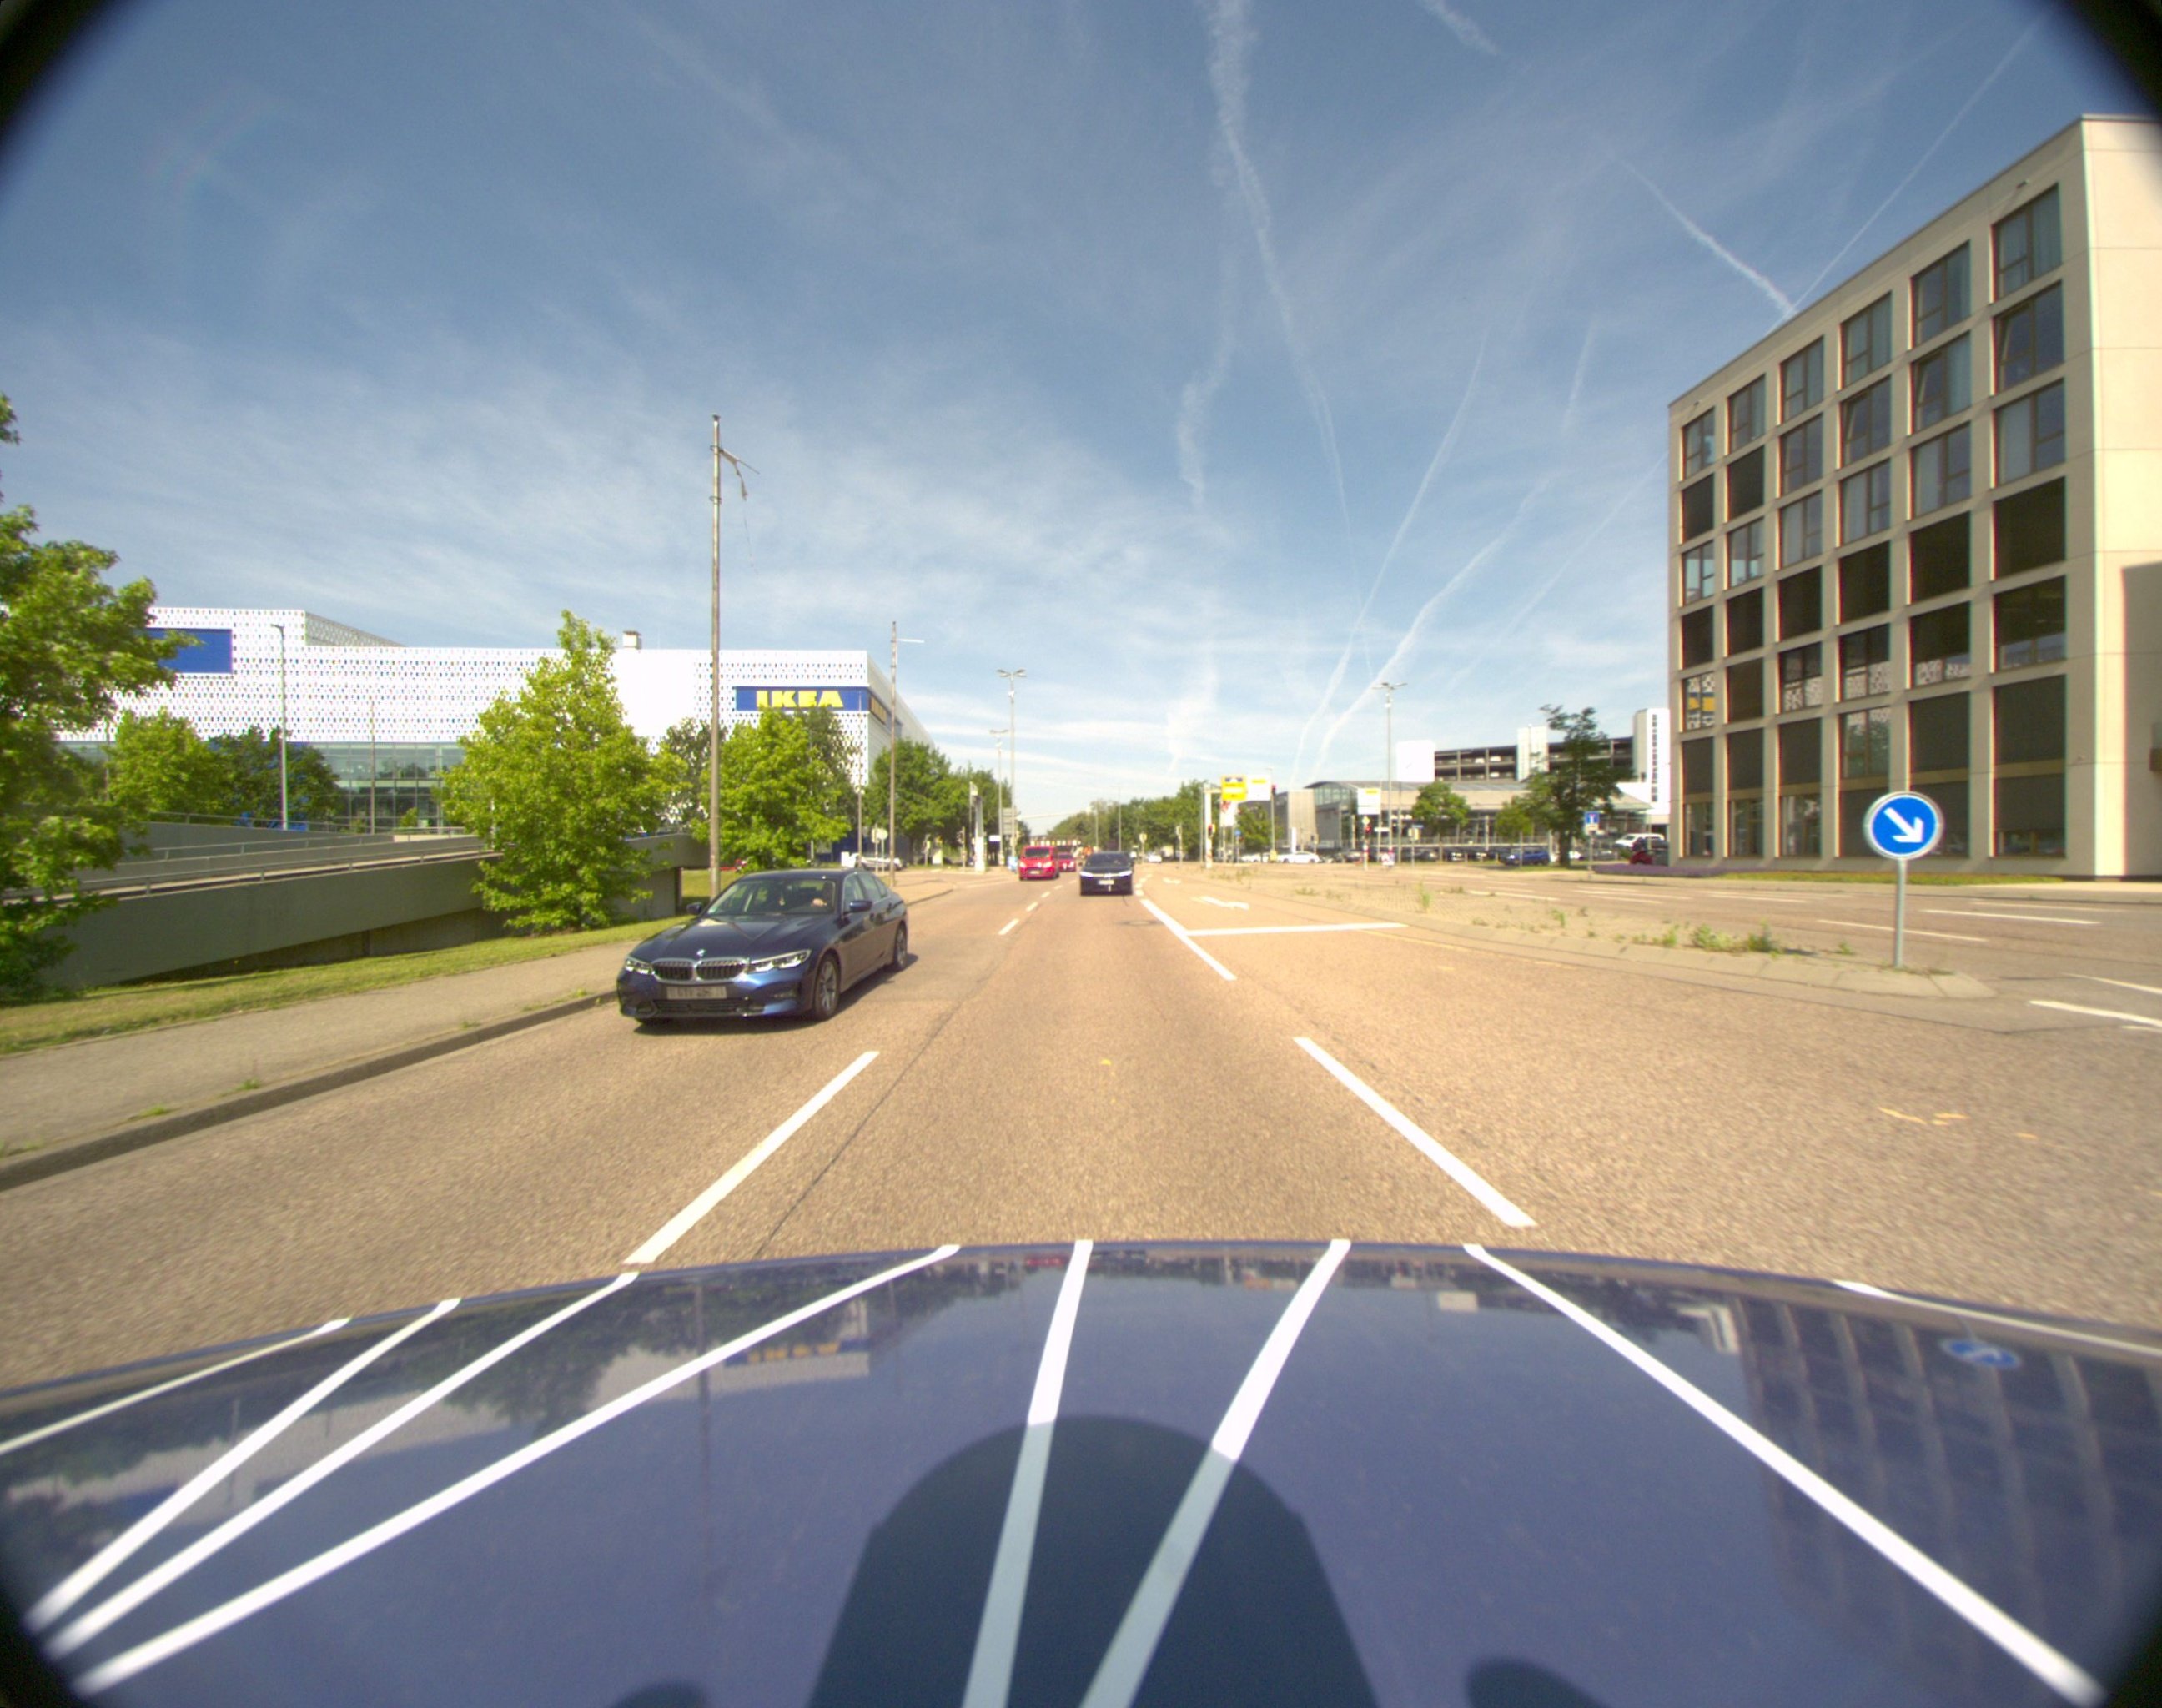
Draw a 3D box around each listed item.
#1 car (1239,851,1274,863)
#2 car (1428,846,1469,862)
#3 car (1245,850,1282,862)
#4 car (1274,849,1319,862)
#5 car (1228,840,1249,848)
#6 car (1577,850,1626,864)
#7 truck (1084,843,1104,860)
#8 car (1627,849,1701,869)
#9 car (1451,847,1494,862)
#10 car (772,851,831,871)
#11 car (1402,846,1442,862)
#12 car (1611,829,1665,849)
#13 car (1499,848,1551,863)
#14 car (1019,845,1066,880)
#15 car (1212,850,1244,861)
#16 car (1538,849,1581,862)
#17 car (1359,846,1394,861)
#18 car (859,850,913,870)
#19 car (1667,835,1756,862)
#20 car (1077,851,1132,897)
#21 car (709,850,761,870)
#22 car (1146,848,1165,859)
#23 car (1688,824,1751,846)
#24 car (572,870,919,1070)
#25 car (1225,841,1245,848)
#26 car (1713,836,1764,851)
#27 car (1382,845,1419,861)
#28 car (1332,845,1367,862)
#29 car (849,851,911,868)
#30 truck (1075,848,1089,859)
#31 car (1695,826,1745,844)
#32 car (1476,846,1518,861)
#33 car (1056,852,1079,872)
[{"bbox_3d":[22.415,0.360,97.118,3.999,1.311,1.868,2,0,-5],"label":"car"},{"bbox_3d":[39.200,0.012,81.235,1.783,1.507,4.674,0,-2,-5],"label":"car"},{"bbox_3d":[22.683,0.292,94.503,4.084,1.362,1.877,2,0,-5],"label":"car"},{"bbox_3d":[23.788,0.132,84.070,4.385,1.424,1.899,0,0,-3],"label":"car"},{"bbox_3d":[34.236,-2.185,165.412,4.198,1.397,1.689,2,0,-3],"label":"car"},{"bbox_3d":[55.546,0.319,81.191,4.018,1.433,1.800,0,0,22],"label":"car"},{"bbox_3d":[2.887,-0.514,171.735,2.756,3.659,7.570,-1,0,-12],"label":"truck"},{"bbox_3d":[41.417,0.358,54.012,4.019,1.407,1.812,-1,0,44],"label":"car"},{"bbox_3d":[41.812,0.037,81.270,1.793,1.433,4.631,0,-2,-5],"label":"car"},{"bbox_3d":[-22.702,0.564,61.786,4.039,1.500,1.908,0,1,-1],"label":"car"},{"bbox_3d":[36.343,0.010,81.192,1.793,1.496,4.777,0,-2,-5],"label":"car"},{"bbox_3d":[61.256,-1.671,83.654,4.546,1.898,2.086,-2,4,-6],"label":"car"},{"bbox_3d":[40.580,0.106,69.448,3.800,1.282,1.660,0,1,3],"label":"car"},{"bbox_3d":[-2.172,0.451,44.276,2.013,1.896,4.812,-1,0,5],"label":"car"},{"bbox_3d":[21.383,0.206,110.889,4.228,1.387,1.801,2,0,-5],"label":"car"},{"bbox_3d":[55.347,0.195,87.907,4.017,1.433,1.801,0,0,25],"label":"car"},{"bbox_3d":[31.050,-0.030,79.994,1.793,1.433,4.200,0,-2,-5],"label":"car"},{"bbox_3d":[-15.746,0.452,61.564,3.894,1.549,1.808,-1,1,0],"label":"car"},{"bbox_3d":[45.092,-0.340,54.378,4.800,1.810,1.902,-1,0,42],"label":"car"},{"bbox_3d":[0.817,0.676,27.678,1.847,1.530,4.000,-1,0,1],"label":"car"},{"bbox_3d":[-28.091,0.505,61.805,3.479,1.566,1.598,-1,0,0],"label":"car"},{"bbox_3d":[10.629,-0.063,108.660,1.787,1.452,4.331,1,0,-6],"label":"car"},{"bbox_3d":[72.414,-2.152,86.262,5.549,2.329,2.088,-2,0,-4],"label":"car"},{"bbox_3d":[-3.267,1.018,8.587,1.800,1.421,4.537,-2,1,1],"label":"car"},{"bbox_3d":[34.568,-2.163,170.814,4.198,1.490,1.689,2,0,-3],"label":"car"},{"bbox_3d":[72.528,-1.156,83.821,3.984,1.565,1.999,-2,0,-4],"label":"car"},{"bbox_3d":[33.835,-0.076,80.583,1.793,1.534,4.375,0,-2,-5],"label":"car"},{"bbox_3d":[28.330,-0.062,80.336,1.819,1.603,4.596,0,-2,-4],"label":"car"},{"bbox_3d":[-17.032,0.462,64.572,4.729,1.417,1.958,0,1,-1],"label":"car"},{"bbox_3d":[0.253,-0.117,188.399,2.383,2.609,6.667,-2,0,-10],"label":"truck"},{"bbox_3d":[80.456,-2.355,95.742,4.688,2.265,2.158,0,0,-4],"label":"car"},{"bbox_3d":[44.548,-0.032,81.435,1.793,1.433,4.401,0,-2,-5],"label":"car"},{"bbox_3d":[-1.015,0.579,58.418,1.692,1.414,3.915,-2,0,0],"label":"car"}]
